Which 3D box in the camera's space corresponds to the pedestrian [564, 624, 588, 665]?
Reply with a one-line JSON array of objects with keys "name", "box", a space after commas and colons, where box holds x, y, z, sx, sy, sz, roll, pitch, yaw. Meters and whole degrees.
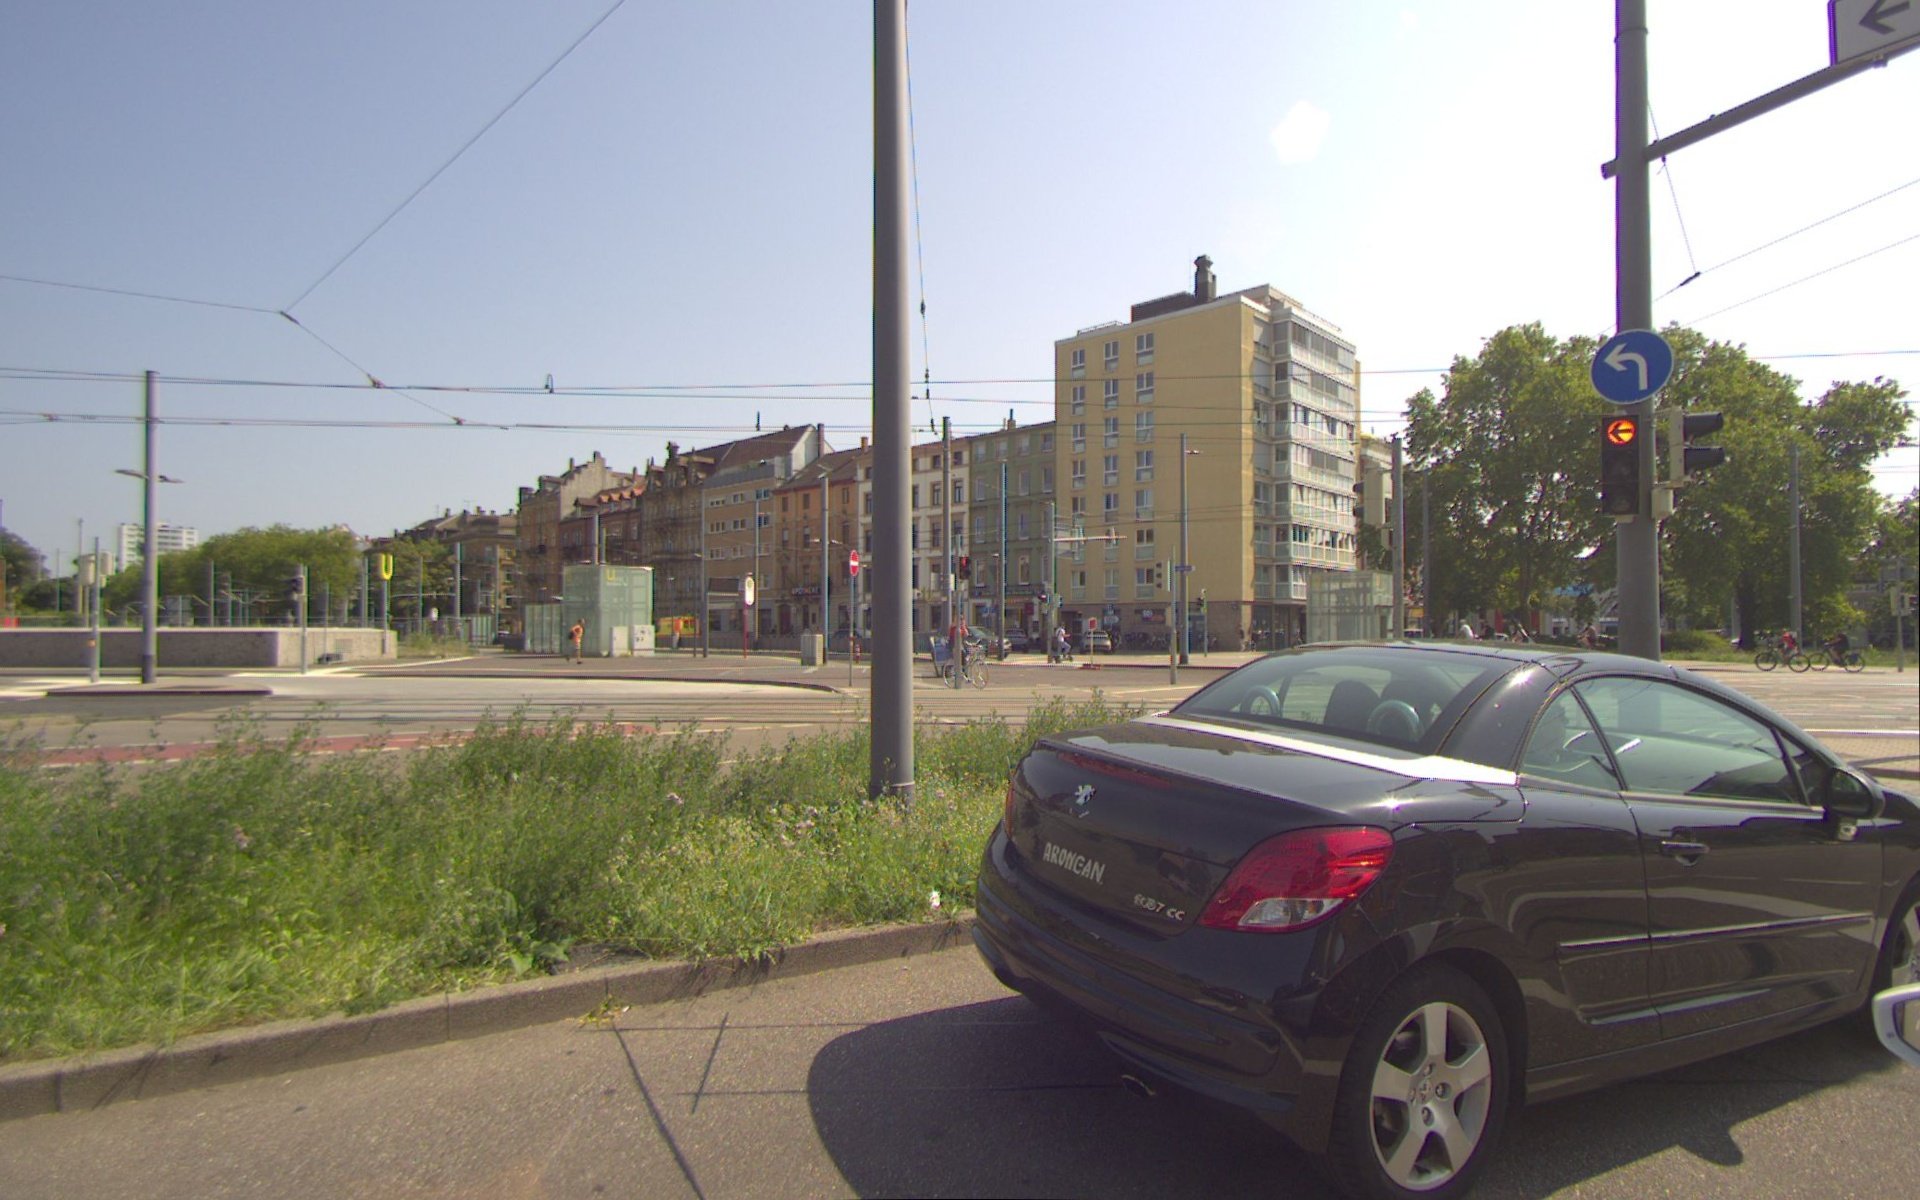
[{"name": "pedestrian", "box": [-14.896, 1.731, 38.952, 0.846, 1.563, 0.740, 1, -2, -21]}]

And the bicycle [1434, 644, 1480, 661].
[{"name": "bicycle", "box": [24.764, 2.595, 50.088, 0.476, 0.813, 2.030, 2, -2, -41]}]

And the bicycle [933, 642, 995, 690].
[{"name": "bicycle", "box": [0.070, 1.581, 24.480, 0.499, 1.108, 1.918, 1, -2, -35]}]

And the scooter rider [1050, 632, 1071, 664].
[{"name": "scooter rider", "box": [4.446, 2.113, 44.475, 0.602, 1.371, 0.682, 1, -2, -35]}]

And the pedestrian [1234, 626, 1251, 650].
[{"name": "pedestrian", "box": [18.129, 2.434, 64.403, 0.844, 1.563, 0.741, -1, -2, 35]}]

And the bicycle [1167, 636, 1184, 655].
[{"name": "bicycle", "box": [14.320, 3.024, 66.944, 0.680, 1.220, 3.265, 0, -2, 4]}]

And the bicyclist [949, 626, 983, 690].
[{"name": "bicyclist", "box": [0.139, 1.404, 24.571, 0.632, 1.529, 0.553, 1, -2, -36]}]

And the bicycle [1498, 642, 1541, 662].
[{"name": "bicycle", "box": [27.660, 2.549, 49.660, 0.563, 0.954, 1.800, 1, -2, -39]}]

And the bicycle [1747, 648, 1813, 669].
[{"name": "bicycle", "box": [33.091, 2.347, 40.569, 0.476, 0.813, 2.030, 2, -2, -41]}]

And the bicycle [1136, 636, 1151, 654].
[{"name": "bicycle", "box": [12.562, 3.053, 68.676, 0.680, 1.220, 3.265, 0, -2, 4]}]

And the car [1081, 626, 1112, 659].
[{"name": "car", "box": [8.454, 2.610, 62.021, 1.767, 1.951, 4.003, 0, -2, 10]}]

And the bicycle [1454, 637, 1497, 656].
[{"name": "bicycle", "box": [27.397, 2.455, 53.417, 0.464, 0.954, 2.014, 2, -2, -41]}]

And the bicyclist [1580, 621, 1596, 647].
[{"name": "bicyclist", "box": [31.290, 1.683, 50.039, 0.555, 1.310, 0.539, 2, -2, -41]}]

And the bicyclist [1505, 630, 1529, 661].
[{"name": "bicyclist", "box": [27.590, 2.236, 49.740, 0.554, 1.528, 0.903, 1, -2, -39]}]

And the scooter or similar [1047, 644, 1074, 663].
[{"name": "scooter or similar", "box": [4.454, 2.347, 44.342, 1.133, 0.835, 0.517, 1, -2, -36]}]

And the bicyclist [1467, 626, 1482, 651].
[{"name": "bicyclist", "box": [27.358, 2.065, 53.364, 0.555, 1.310, 0.539, 2, -2, -41]}]

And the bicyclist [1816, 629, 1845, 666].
[{"name": "bicyclist", "box": [35.854, 1.944, 41.384, 0.861, 1.495, 0.543, -1, -2, 43]}]

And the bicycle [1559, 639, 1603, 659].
[{"name": "bicycle", "box": [31.111, 2.460, 50.338, 0.413, 0.954, 1.798, 2, -2, -41]}]

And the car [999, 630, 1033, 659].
[{"name": "car", "box": [3.746, 2.930, 66.809, 1.767, 1.843, 4.003, 0, -2, 10]}]

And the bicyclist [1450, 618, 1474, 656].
[{"name": "bicyclist", "box": [24.935, 1.828, 49.894, 0.494, 1.831, 0.915, 2, -2, -42]}]

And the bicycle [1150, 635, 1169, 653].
[{"name": "bicycle", "box": [13.431, 2.949, 67.843, 0.892, 1.220, 3.265, 0, -2, 4]}]

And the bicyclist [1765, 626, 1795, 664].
[{"name": "bicyclist", "box": [33.104, 1.821, 40.543, 0.493, 1.502, 0.863, 2, -2, -41]}]

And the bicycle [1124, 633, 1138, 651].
[{"name": "bicycle", "box": [11.815, 2.897, 69.502, 0.680, 1.220, 2.793, 0, -2, 4]}]

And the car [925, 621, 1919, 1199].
[{"name": "car", "box": [1.929, 0.816, 3.697, 3.731, 1.406, 1.759, 1, 0, -26]}]

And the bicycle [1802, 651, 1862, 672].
[{"name": "bicycle", "box": [35.881, 2.534, 41.340, 1.836, 0.813, 0.604, -1, -2, 43]}]
